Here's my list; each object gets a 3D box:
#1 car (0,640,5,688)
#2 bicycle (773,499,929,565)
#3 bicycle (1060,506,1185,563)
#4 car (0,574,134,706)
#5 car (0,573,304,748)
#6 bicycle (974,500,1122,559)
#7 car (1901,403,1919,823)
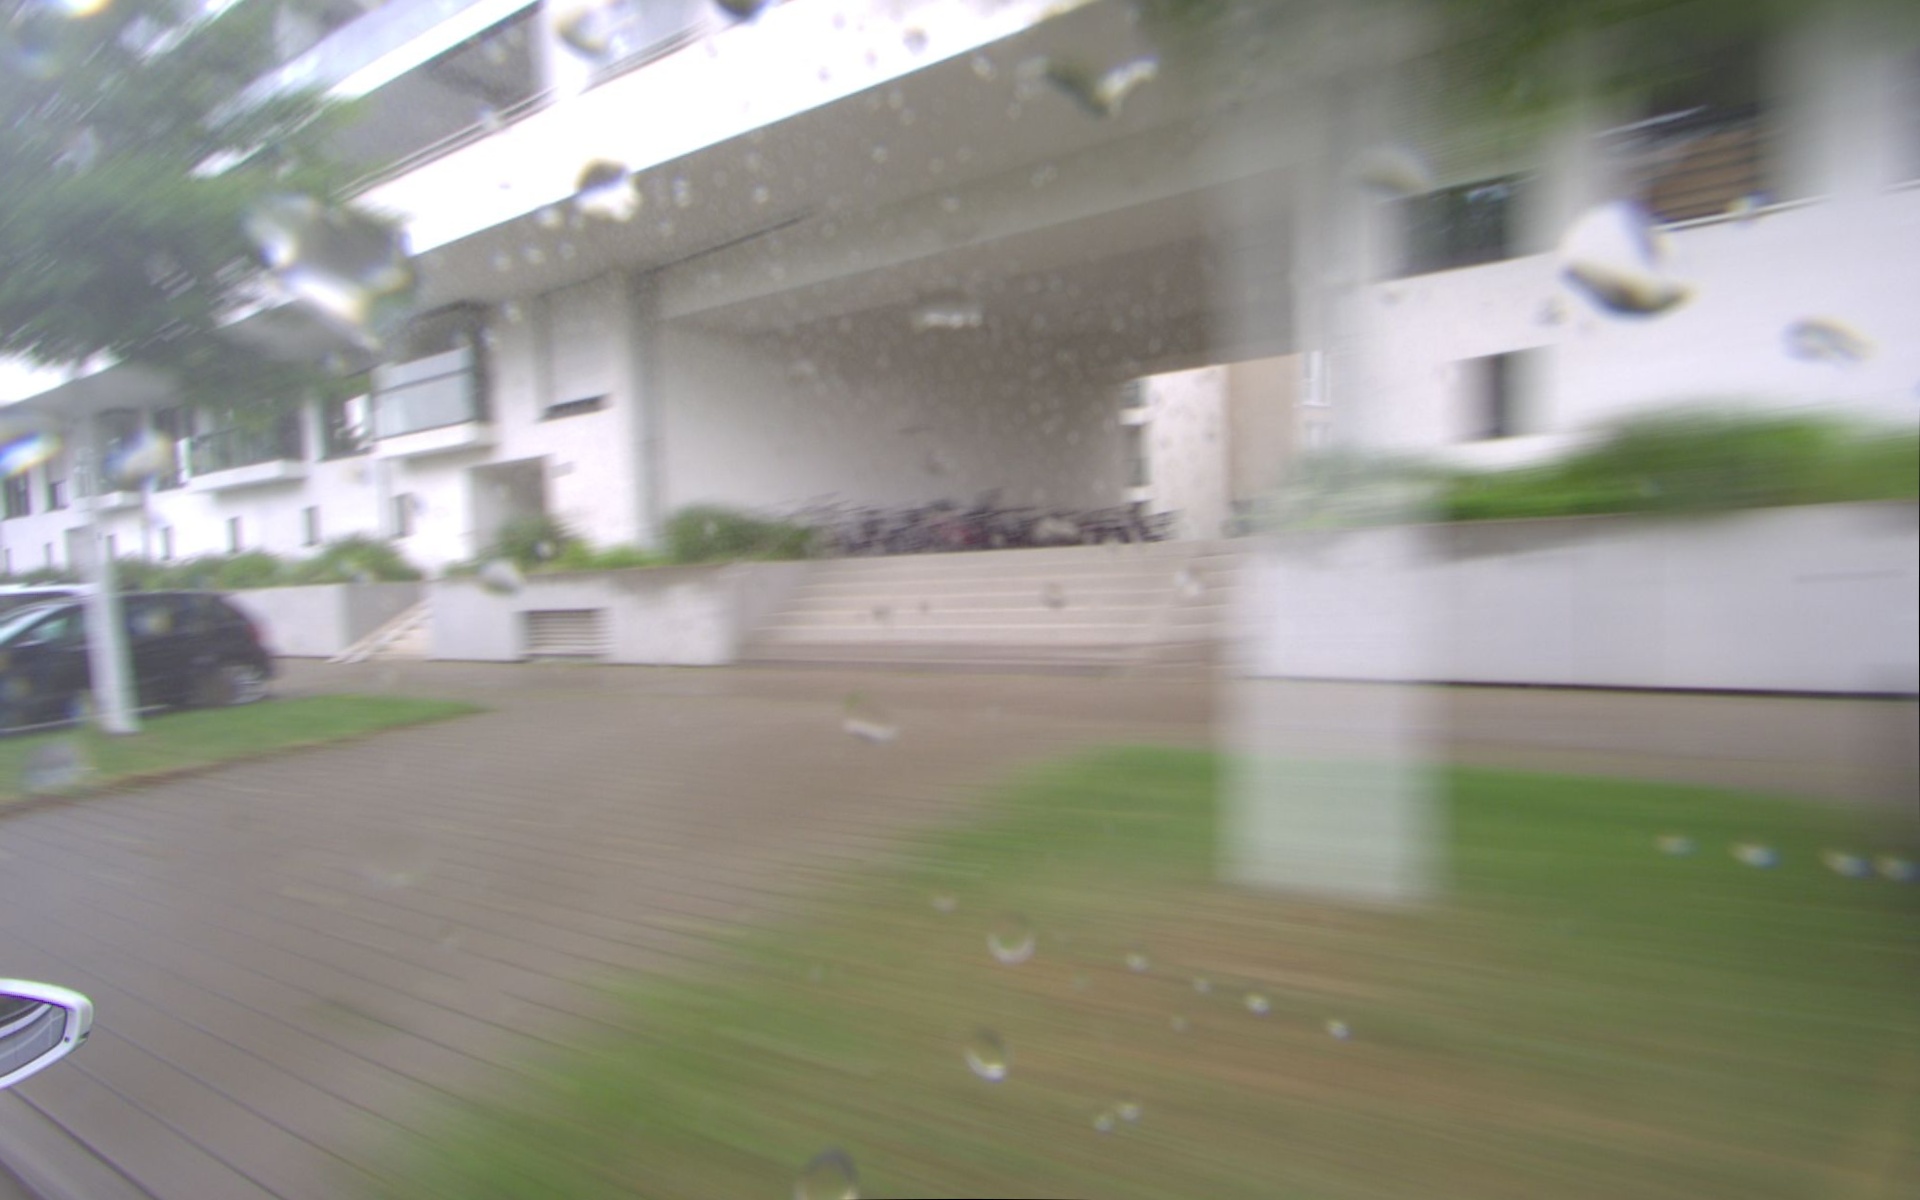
[{"bbox_3d":[-18.262,0.896,16.003,1.660,1.531,3.975,0,5,32],"label":"car"},{"bbox_3d":[-2.000,-1.245,18.870,2.933,1.133,0.907,-2,2,-42],"label":"bicycle"},{"bbox_3d":[3.580,-1.442,22.191,2.597,1.133,0.817,-2,1,-3],"label":"bicycle"},{"bbox_3d":[-14.536,0.698,13.708,1.907,1.711,4.463,0,6,31],"label":"car"},{"bbox_3d":[-9.961,0.628,11.097,1.907,1.517,3.977,0,6,29],"label":"car"},{"bbox_3d":[1.837,-1.468,20.890,2.912,1.133,0.914,-2,1,-15],"label":"bicycle"},{"bbox_3d":[3.691,0.318,1.807,1.858,1.710,4.526,-1,7,30],"label":"car"}]
